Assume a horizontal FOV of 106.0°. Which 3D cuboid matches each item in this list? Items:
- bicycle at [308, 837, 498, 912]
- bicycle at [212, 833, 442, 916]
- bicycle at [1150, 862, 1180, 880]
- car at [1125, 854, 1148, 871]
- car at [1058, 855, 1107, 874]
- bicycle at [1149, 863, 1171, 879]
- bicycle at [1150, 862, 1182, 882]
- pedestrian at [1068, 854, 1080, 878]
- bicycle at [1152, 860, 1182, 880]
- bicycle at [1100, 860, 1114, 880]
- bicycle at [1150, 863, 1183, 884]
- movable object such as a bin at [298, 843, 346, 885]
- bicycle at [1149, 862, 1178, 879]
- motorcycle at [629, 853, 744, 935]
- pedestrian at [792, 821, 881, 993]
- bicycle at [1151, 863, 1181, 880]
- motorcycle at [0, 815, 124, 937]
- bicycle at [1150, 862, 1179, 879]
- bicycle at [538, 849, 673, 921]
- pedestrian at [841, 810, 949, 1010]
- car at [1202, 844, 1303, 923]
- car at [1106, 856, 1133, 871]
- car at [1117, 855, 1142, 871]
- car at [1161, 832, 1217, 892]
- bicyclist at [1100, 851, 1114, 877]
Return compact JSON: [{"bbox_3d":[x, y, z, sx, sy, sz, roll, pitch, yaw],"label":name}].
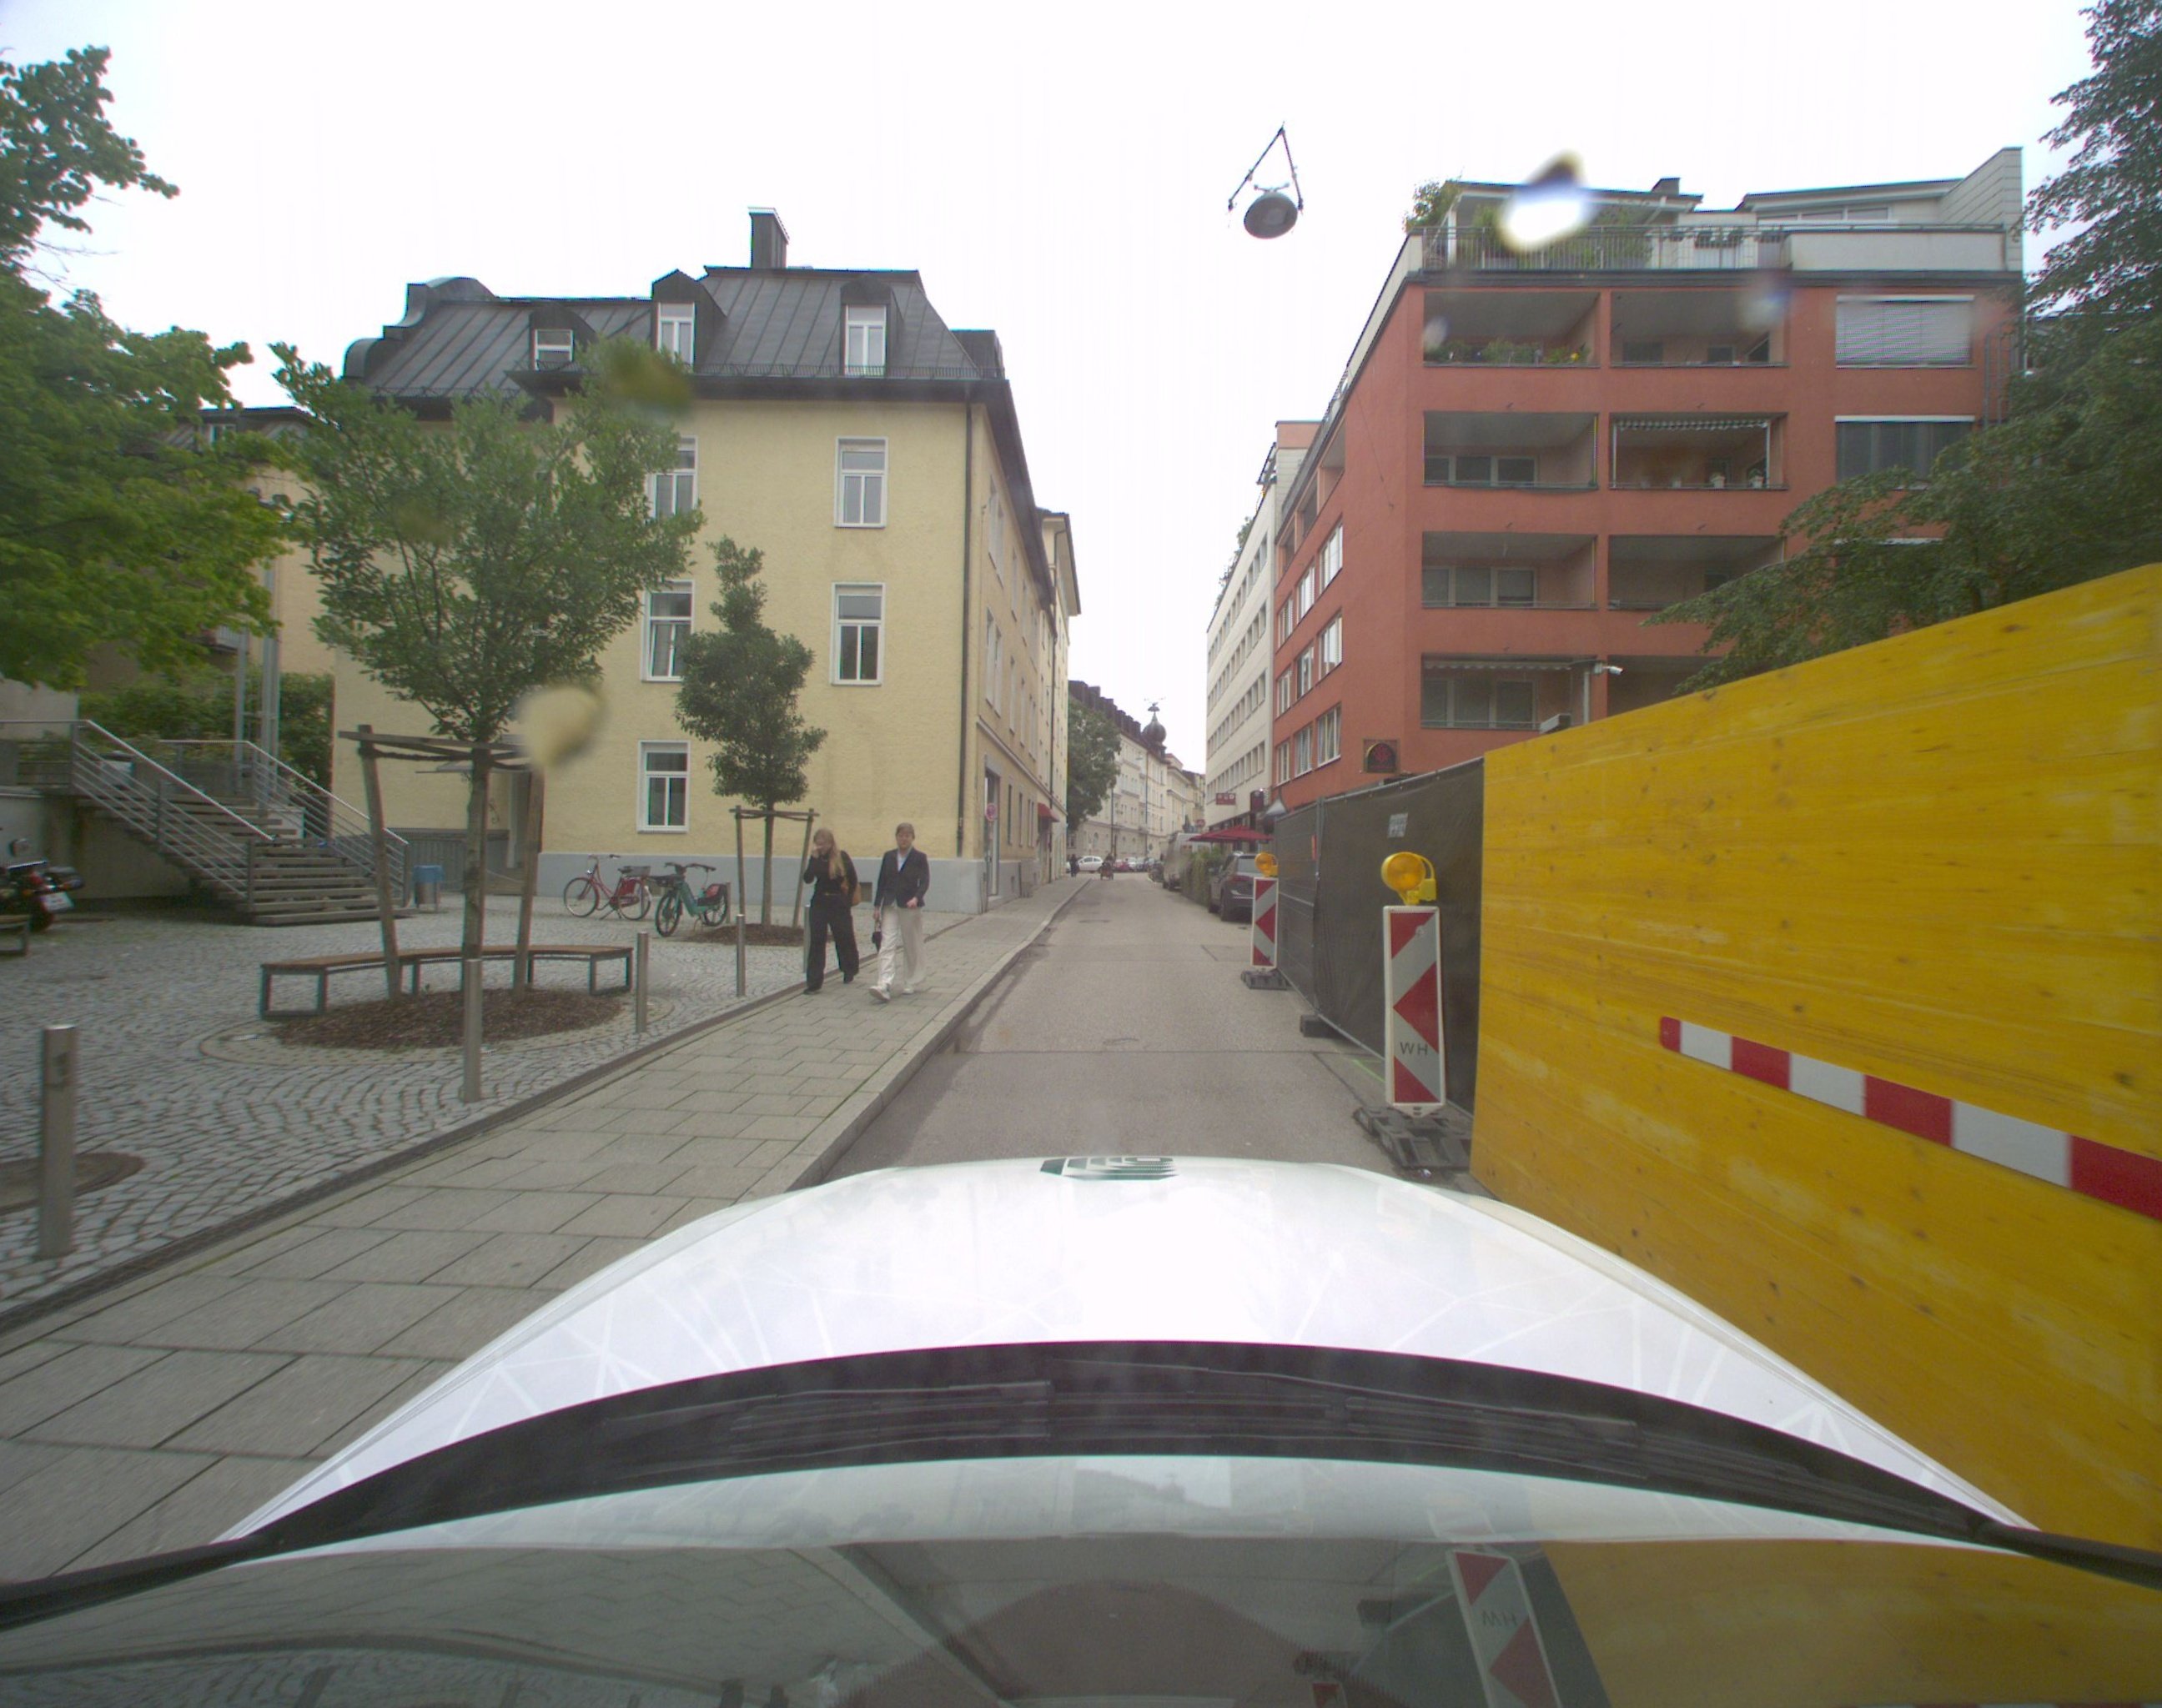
[{"bbox_3d":[-12.513,0.372,15.075,2.841,1.251,0.767,2,0,2],"label":"bicycle"},{"bbox_3d":[-12.832,0.334,13.915,3.211,1.251,0.767,2,0,2],"label":"bicycle"},{"bbox_3d":[5.405,1.080,52.253,1.868,1.095,0.440,1,1,-2],"label":"bicycle"},{"bbox_3d":[5.985,0.890,87.566,1.930,1.702,4.013,2,0,12],"label":"car"},{"bbox_3d":[0.106,0.865,69.331,3.772,1.578,1.986,0,-1,-21],"label":"car"},{"bbox_3d":[5.456,1.180,56.569,1.449,1.069,0.462,2,-1,-6],"label":"bicycle"},{"bbox_3d":[5.122,1.108,49.153,1.867,1.108,0.488,2,1,0],"label":"bicycle"},{"bbox_3d":[-0.481,0.820,55.099,0.690,1.632,0.663,2,-1,1],"label":"pedestrian"},{"bbox_3d":[5.385,1.008,51.082,1.867,1.204,0.579,0,0,0],"label":"bicycle"},{"bbox_3d":[1.746,1.063,54.225,0.928,1.257,2.415,0,-1,2],"label":"bicycle"},{"bbox_3d":[5.064,1.146,48.236,1.868,1.079,0.488,3,1,0],"label":"bicycle"},{"bbox_3d":[-18.082,0.239,19.405,0.475,0.971,0.650,2,0,6],"label":"movable object such as a bin"},{"bbox_3d":[5.501,1.117,54.091,1.868,1.080,0.408,1,1,-2],"label":"bicycle"},{"bbox_3d":[-6.139,0.590,12.819,0.573,1.173,1.985,2,-1,8],"label":"motorcycle"},{"bbox_3d":[-2.496,0.518,8.411,0.550,1.660,0.998,1,-1,2],"label":"pedestrian"},{"bbox_3d":[5.529,1.156,52.952,1.868,1.052,0.564,1,-2,-2],"label":"bicycle"},{"bbox_3d":[-13.635,0.236,10.058,2.651,1.412,0.971,1,-1,6],"label":"motorcycle"},{"bbox_3d":[5.519,1.104,53.651,1.868,1.080,0.402,1,1,-2],"label":"bicycle"},{"bbox_3d":[-8.498,0.543,14.586,1.964,1.173,0.749,2,-1,6],"label":"bicycle"},{"bbox_3d":[-1.804,0.523,8.062,0.773,1.836,0.992,1,-1,2],"label":"pedestrian"},{"bbox_3d":[4.160,0.673,20.418,1.816,1.710,4.393,2,0,3],"label":"car"},{"bbox_3d":[3.658,0.900,77.583,1.718,1.378,4.242,1,0,14],"label":"car"},{"bbox_3d":[4.976,0.910,82.470,1.981,1.473,4.231,1,0,10],"label":"car"},{"bbox_3d":[4.914,0.361,37.872,1.913,2.506,5.999,2,0,1],"label":"car"},{"bbox_3d":[1.761,0.658,54.548,0.922,1.721,1.100,0,-1,3],"label":"bicyclist"}]
